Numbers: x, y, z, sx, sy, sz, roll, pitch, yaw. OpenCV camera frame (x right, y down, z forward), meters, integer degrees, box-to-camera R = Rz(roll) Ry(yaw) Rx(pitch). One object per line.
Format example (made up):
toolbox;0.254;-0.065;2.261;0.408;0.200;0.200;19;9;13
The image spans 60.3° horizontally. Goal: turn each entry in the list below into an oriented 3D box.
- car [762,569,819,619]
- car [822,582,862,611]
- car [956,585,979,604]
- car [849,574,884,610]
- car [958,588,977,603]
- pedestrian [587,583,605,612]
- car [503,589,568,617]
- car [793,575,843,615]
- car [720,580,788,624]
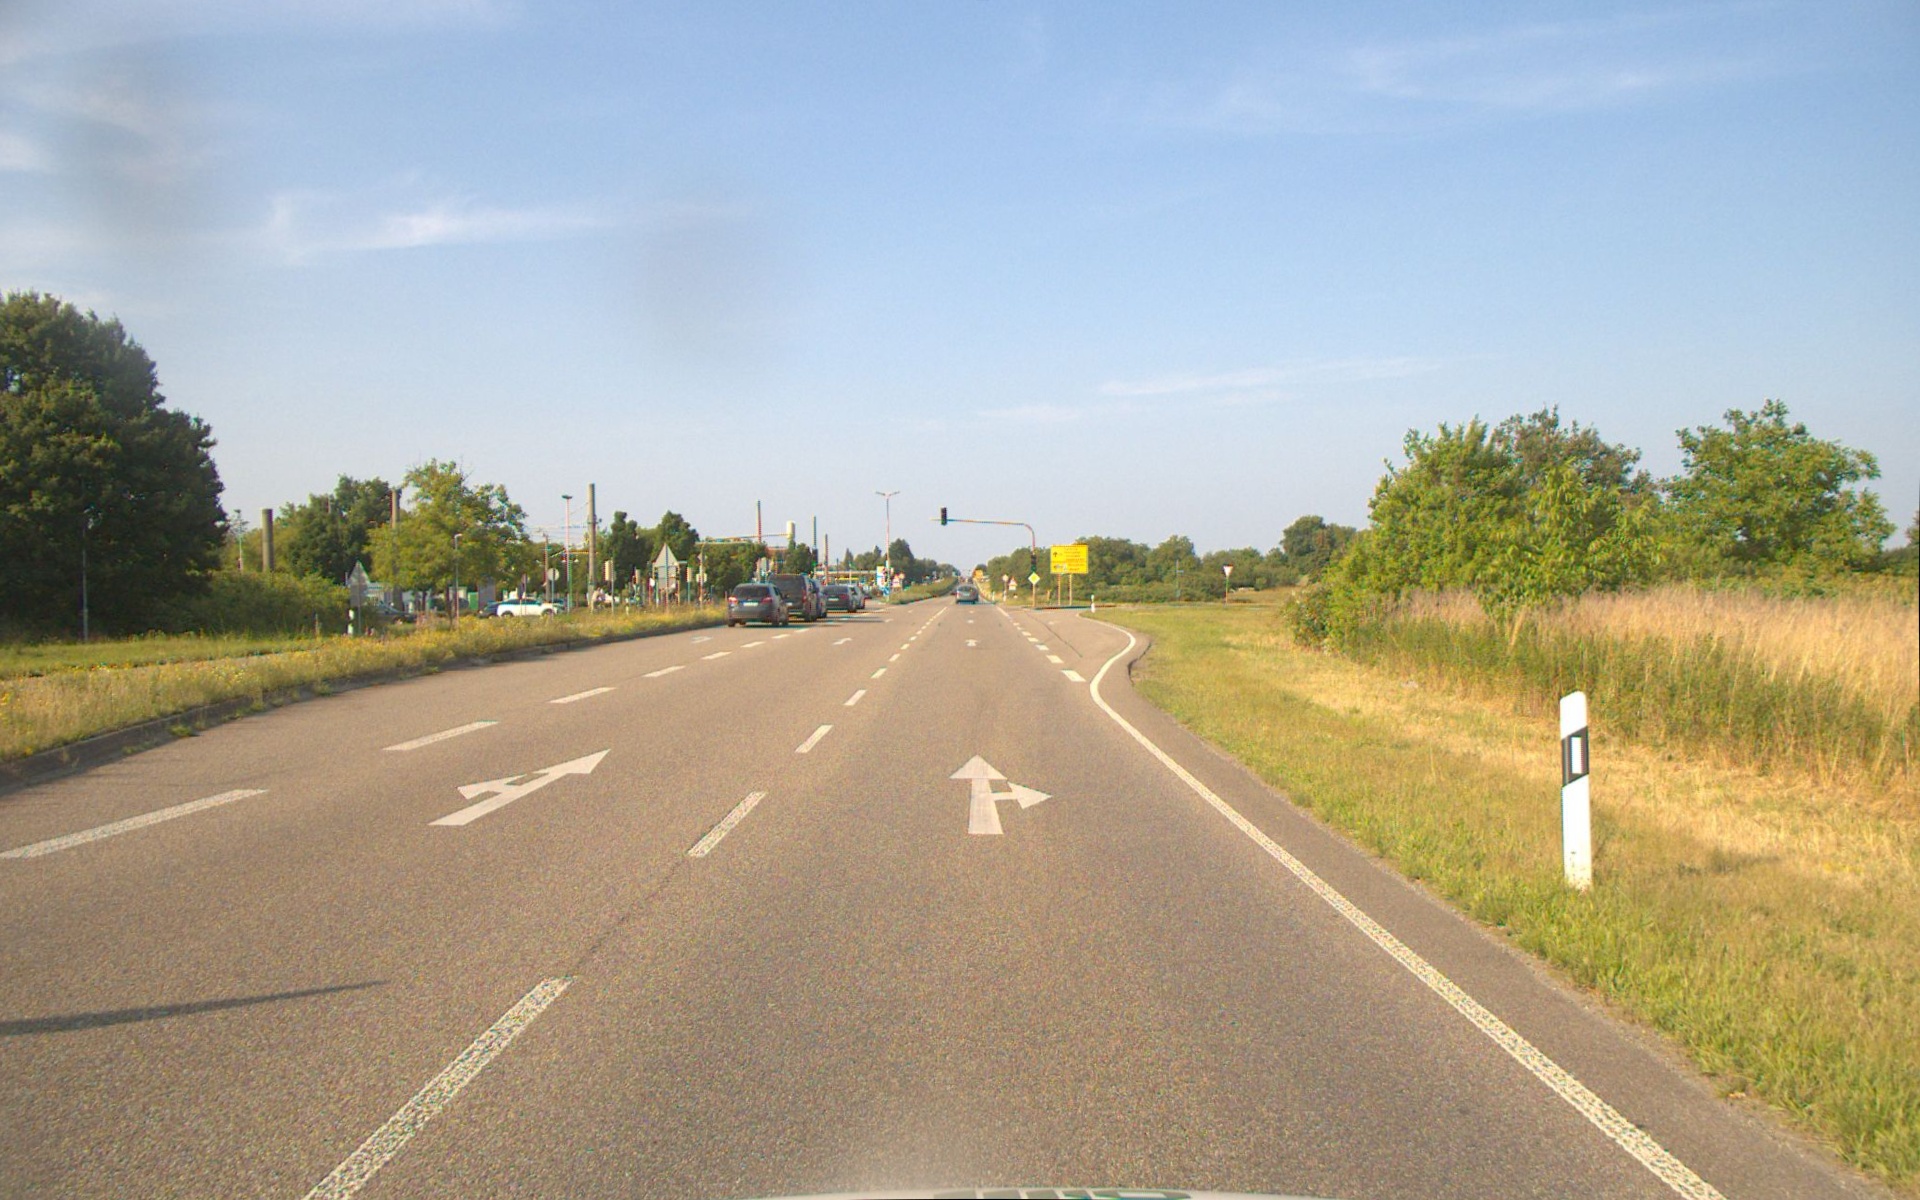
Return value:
car;-6.601;-0.261;64.782;1.696;1.888;4.521;0;1;1
car;-6.140;-0.202;86.692;1.733;1.497;4.016;0;1;1
car;0.658;-0.478;145.852;1.952;1.579;4.001;0;1;1
car;-5.489;-0.480;97.323;1.791;2.049;4.000;0;1;0
car;0.802;-0.499;174.192;1.952;1.579;4.001;0;1;1
pedestrian;-22.418;-0.143;101.886;0.897;1.736;1.066;1;-1;-5
car;-27.609;0.212;107.598;3.915;1.691;1.882;1;-1;-11
car;-6.199;-0.233;72.533;1.733;1.708;4.521;0;1;1
car;-7.125;0.037;57.563;1.696;1.481;4.521;0;1;1
